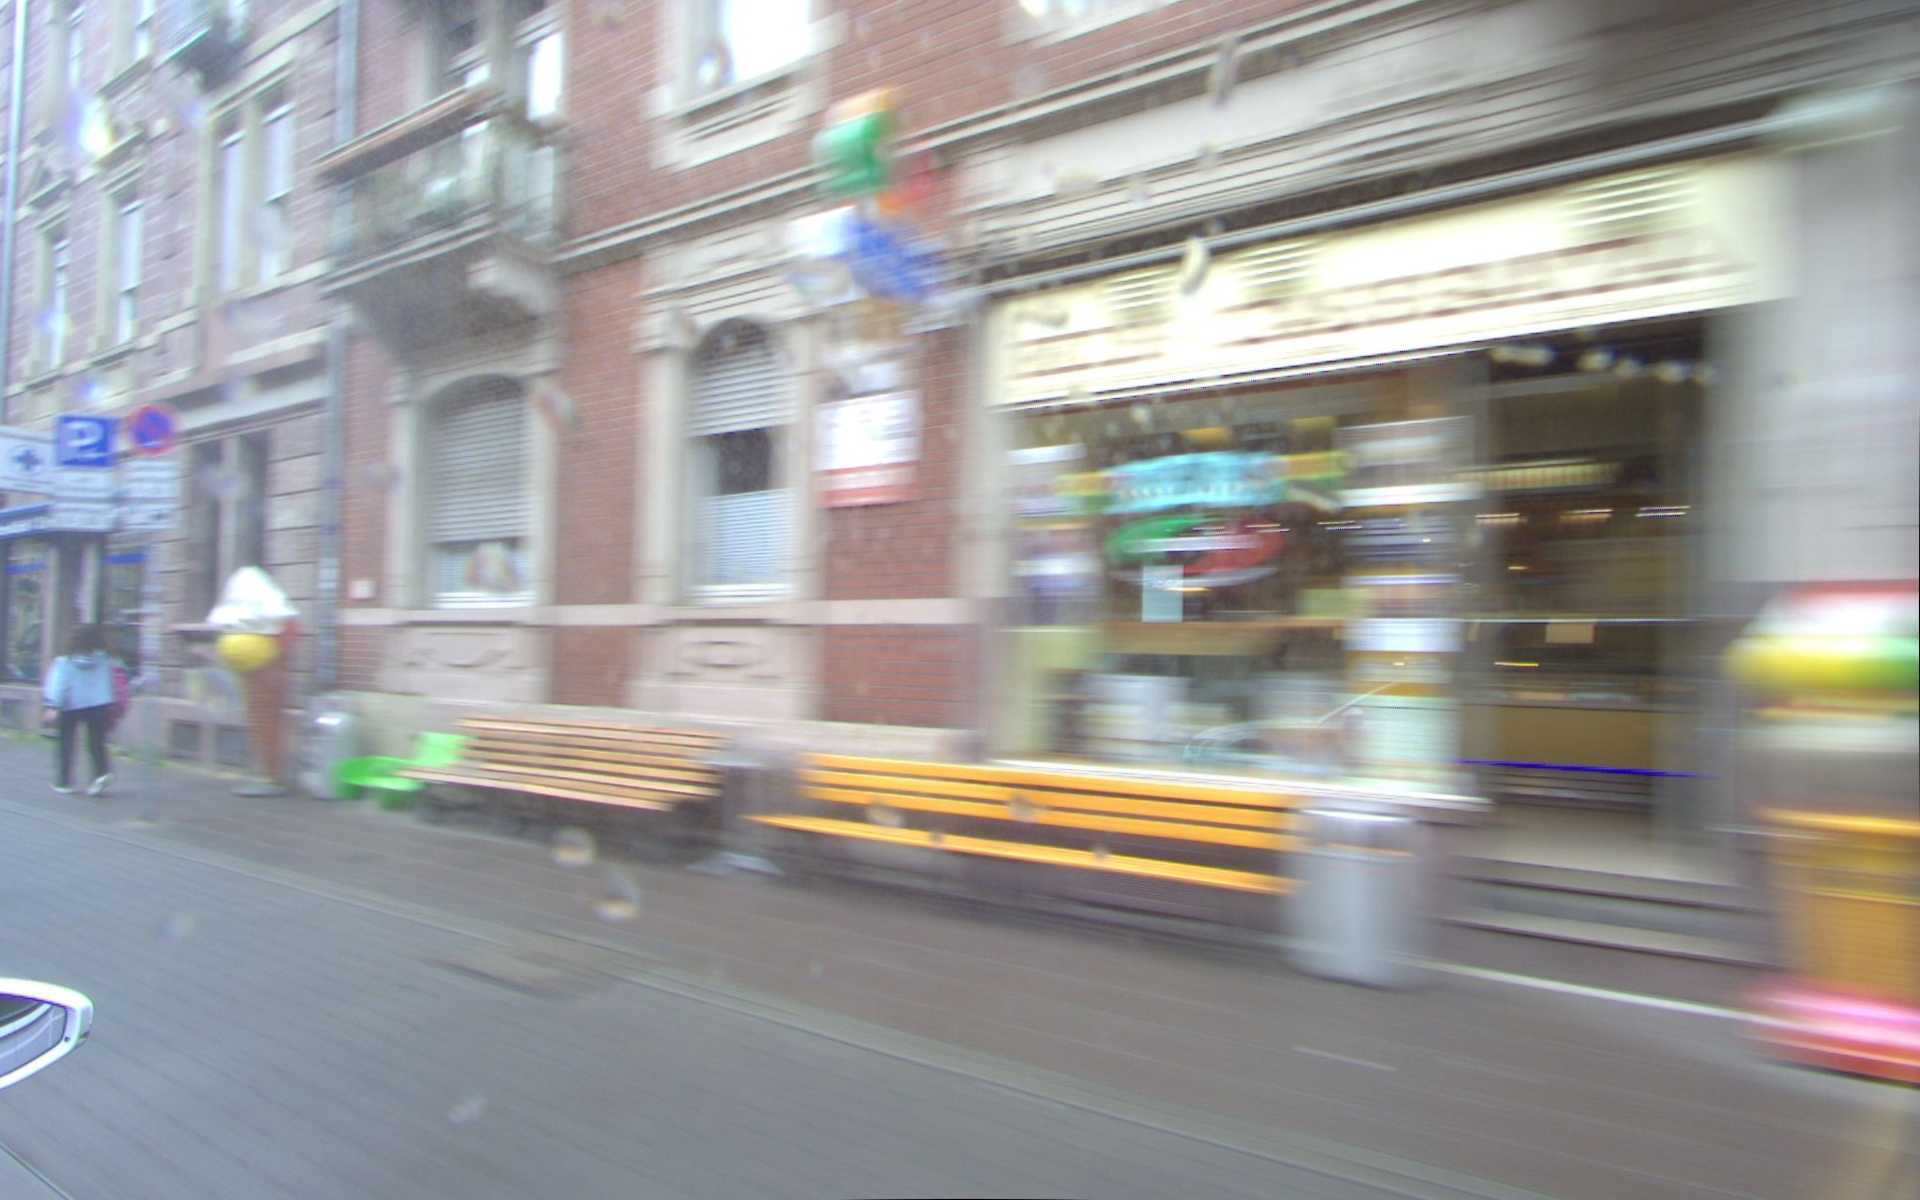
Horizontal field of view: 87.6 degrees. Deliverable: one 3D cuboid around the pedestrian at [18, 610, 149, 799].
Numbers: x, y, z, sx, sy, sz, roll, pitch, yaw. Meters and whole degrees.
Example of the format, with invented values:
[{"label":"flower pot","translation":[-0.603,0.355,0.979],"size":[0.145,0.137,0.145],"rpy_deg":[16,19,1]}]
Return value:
[{"label":"pedestrian","translation":[-8.031,0.918,9.181],"size":[0.798,1.634,0.678],"rpy_deg":[0,-1,32]}]
